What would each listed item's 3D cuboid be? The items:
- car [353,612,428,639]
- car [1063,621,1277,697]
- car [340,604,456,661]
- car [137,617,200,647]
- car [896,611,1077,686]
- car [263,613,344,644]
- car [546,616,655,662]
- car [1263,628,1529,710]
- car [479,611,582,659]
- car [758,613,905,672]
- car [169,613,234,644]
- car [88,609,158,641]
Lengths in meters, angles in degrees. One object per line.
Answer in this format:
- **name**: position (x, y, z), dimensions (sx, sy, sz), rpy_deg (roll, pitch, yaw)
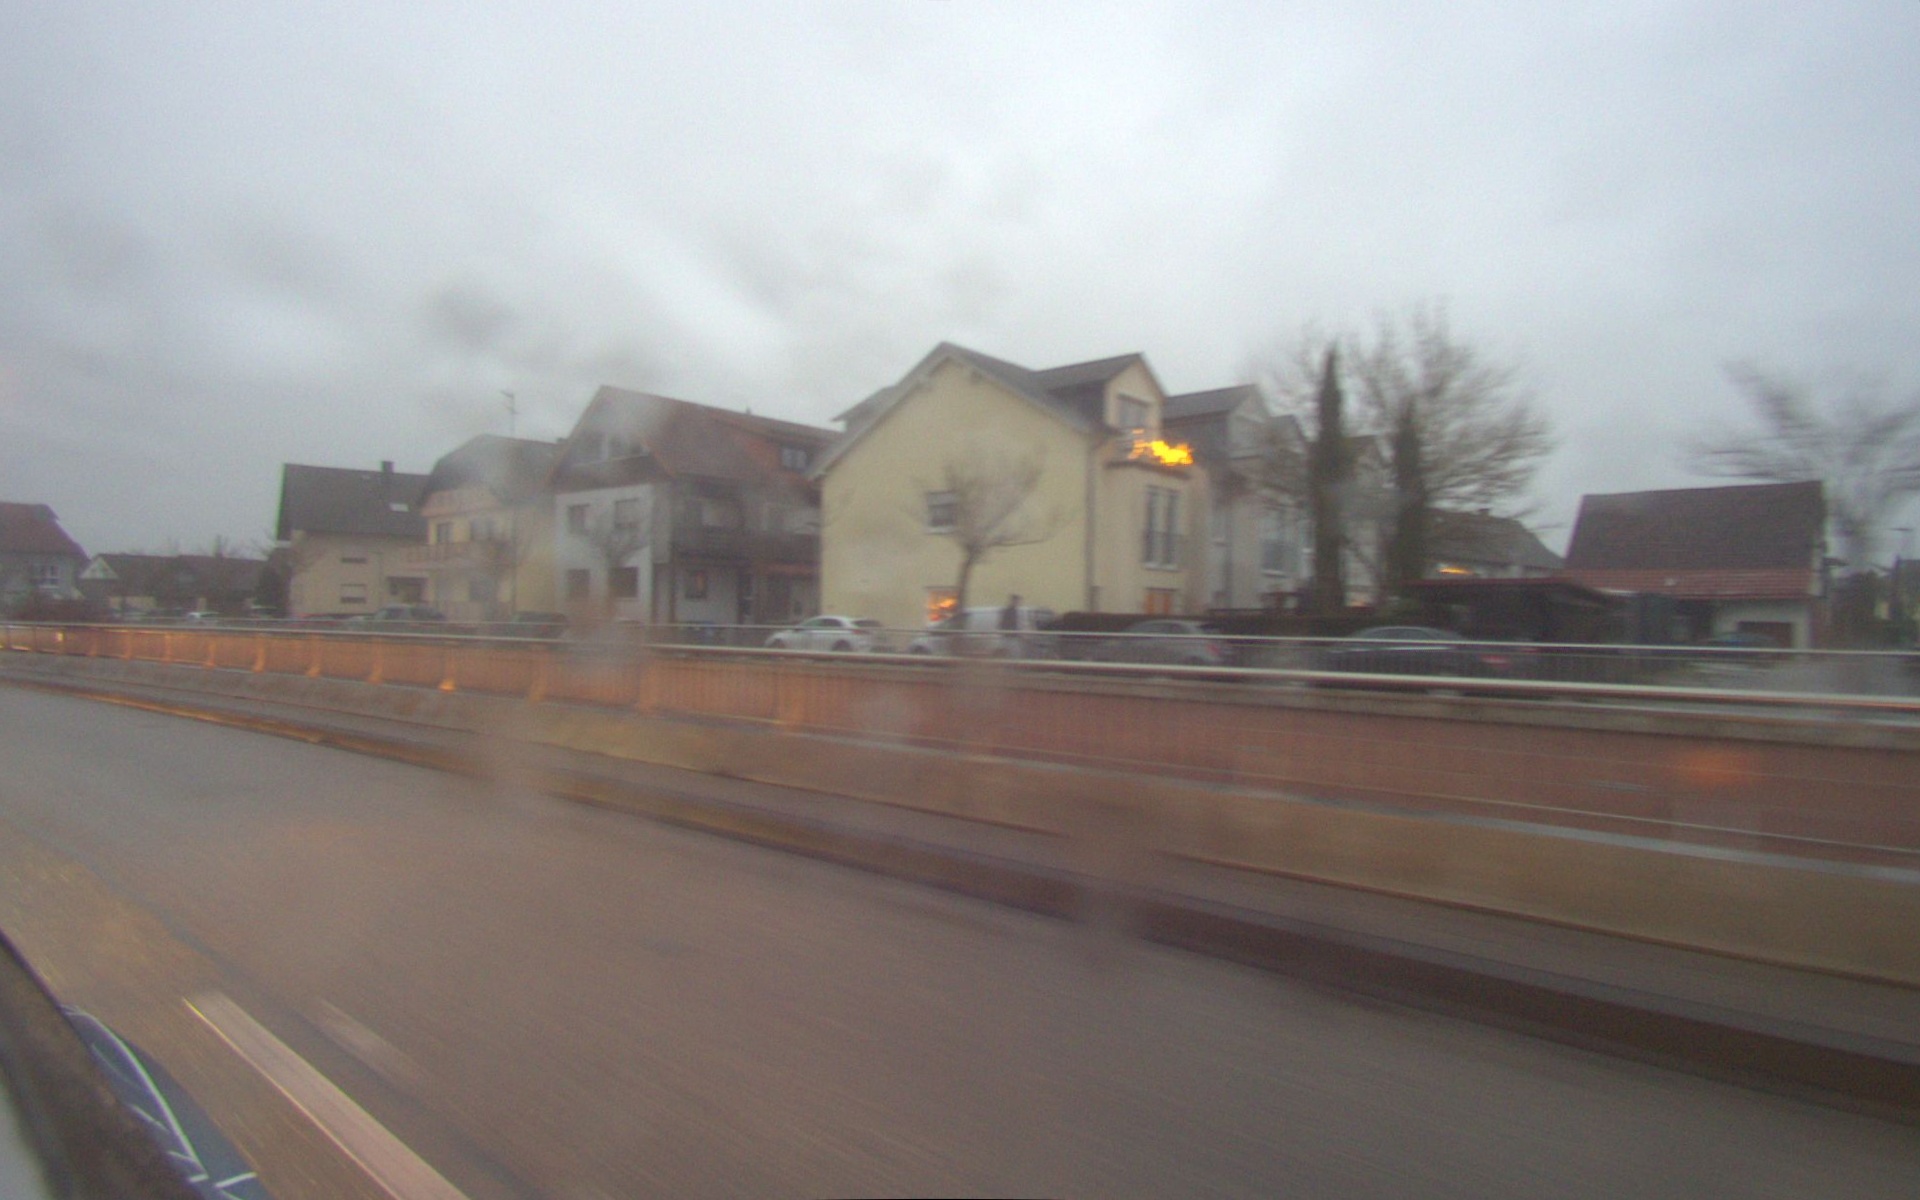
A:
- **car**: position (-36.741, 1.638, 65.308), dimensions (3.975, 1.535, 1.817), rpy_deg (-2, 1, -38)
- **car**: position (4.743, 1.318, 23.242), dimensions (4.496, 1.584, 1.855), rpy_deg (-2, -4, 39)
- **car**: position (-19.093, 1.070, 34.353), dimensions (3.848, 1.817, 1.785), rpy_deg (0, -1, 32)
- **car**: position (-47.338, 1.896, 60.535), dimensions (3.991, 1.529, 1.880), rpy_deg (1, 2, 35)
- **car**: position (0.643, 1.251, 26.407), dimensions (4.494, 1.792, 1.856), rpy_deg (-2, -3, 37)
- **car**: position (-32.259, 1.376, 49.703), dimensions (4.640, 1.453, 1.859), rpy_deg (0, 0, 37)
- **car**: position (-13.138, 1.383, 36.913), dimensions (4.023, 1.535, 1.753), rpy_deg (0, -1, 36)
- **car**: position (8.515, 1.301, 19.981), dimensions (4.496, 1.444, 1.855), rpy_deg (-2, -4, 39)
- **car**: position (-16.636, 1.294, 39.118), dimensions (3.992, 1.694, 1.842), rpy_deg (0, 1, 36)
- **car**: position (-3.844, 1.261, 29.996), dimensions (4.218, 1.611, 1.856), rpy_deg (-2, -3, 37)
- **car**: position (-43.329, 1.594, 57.761), dimensions (3.976, 1.636, 1.801), rpy_deg (-1, 1, 35)
- **car**: position (-53.589, 1.585, 64.795), dimensions (4.339, 1.919, 1.981), rpy_deg (-1, 1, 29)
